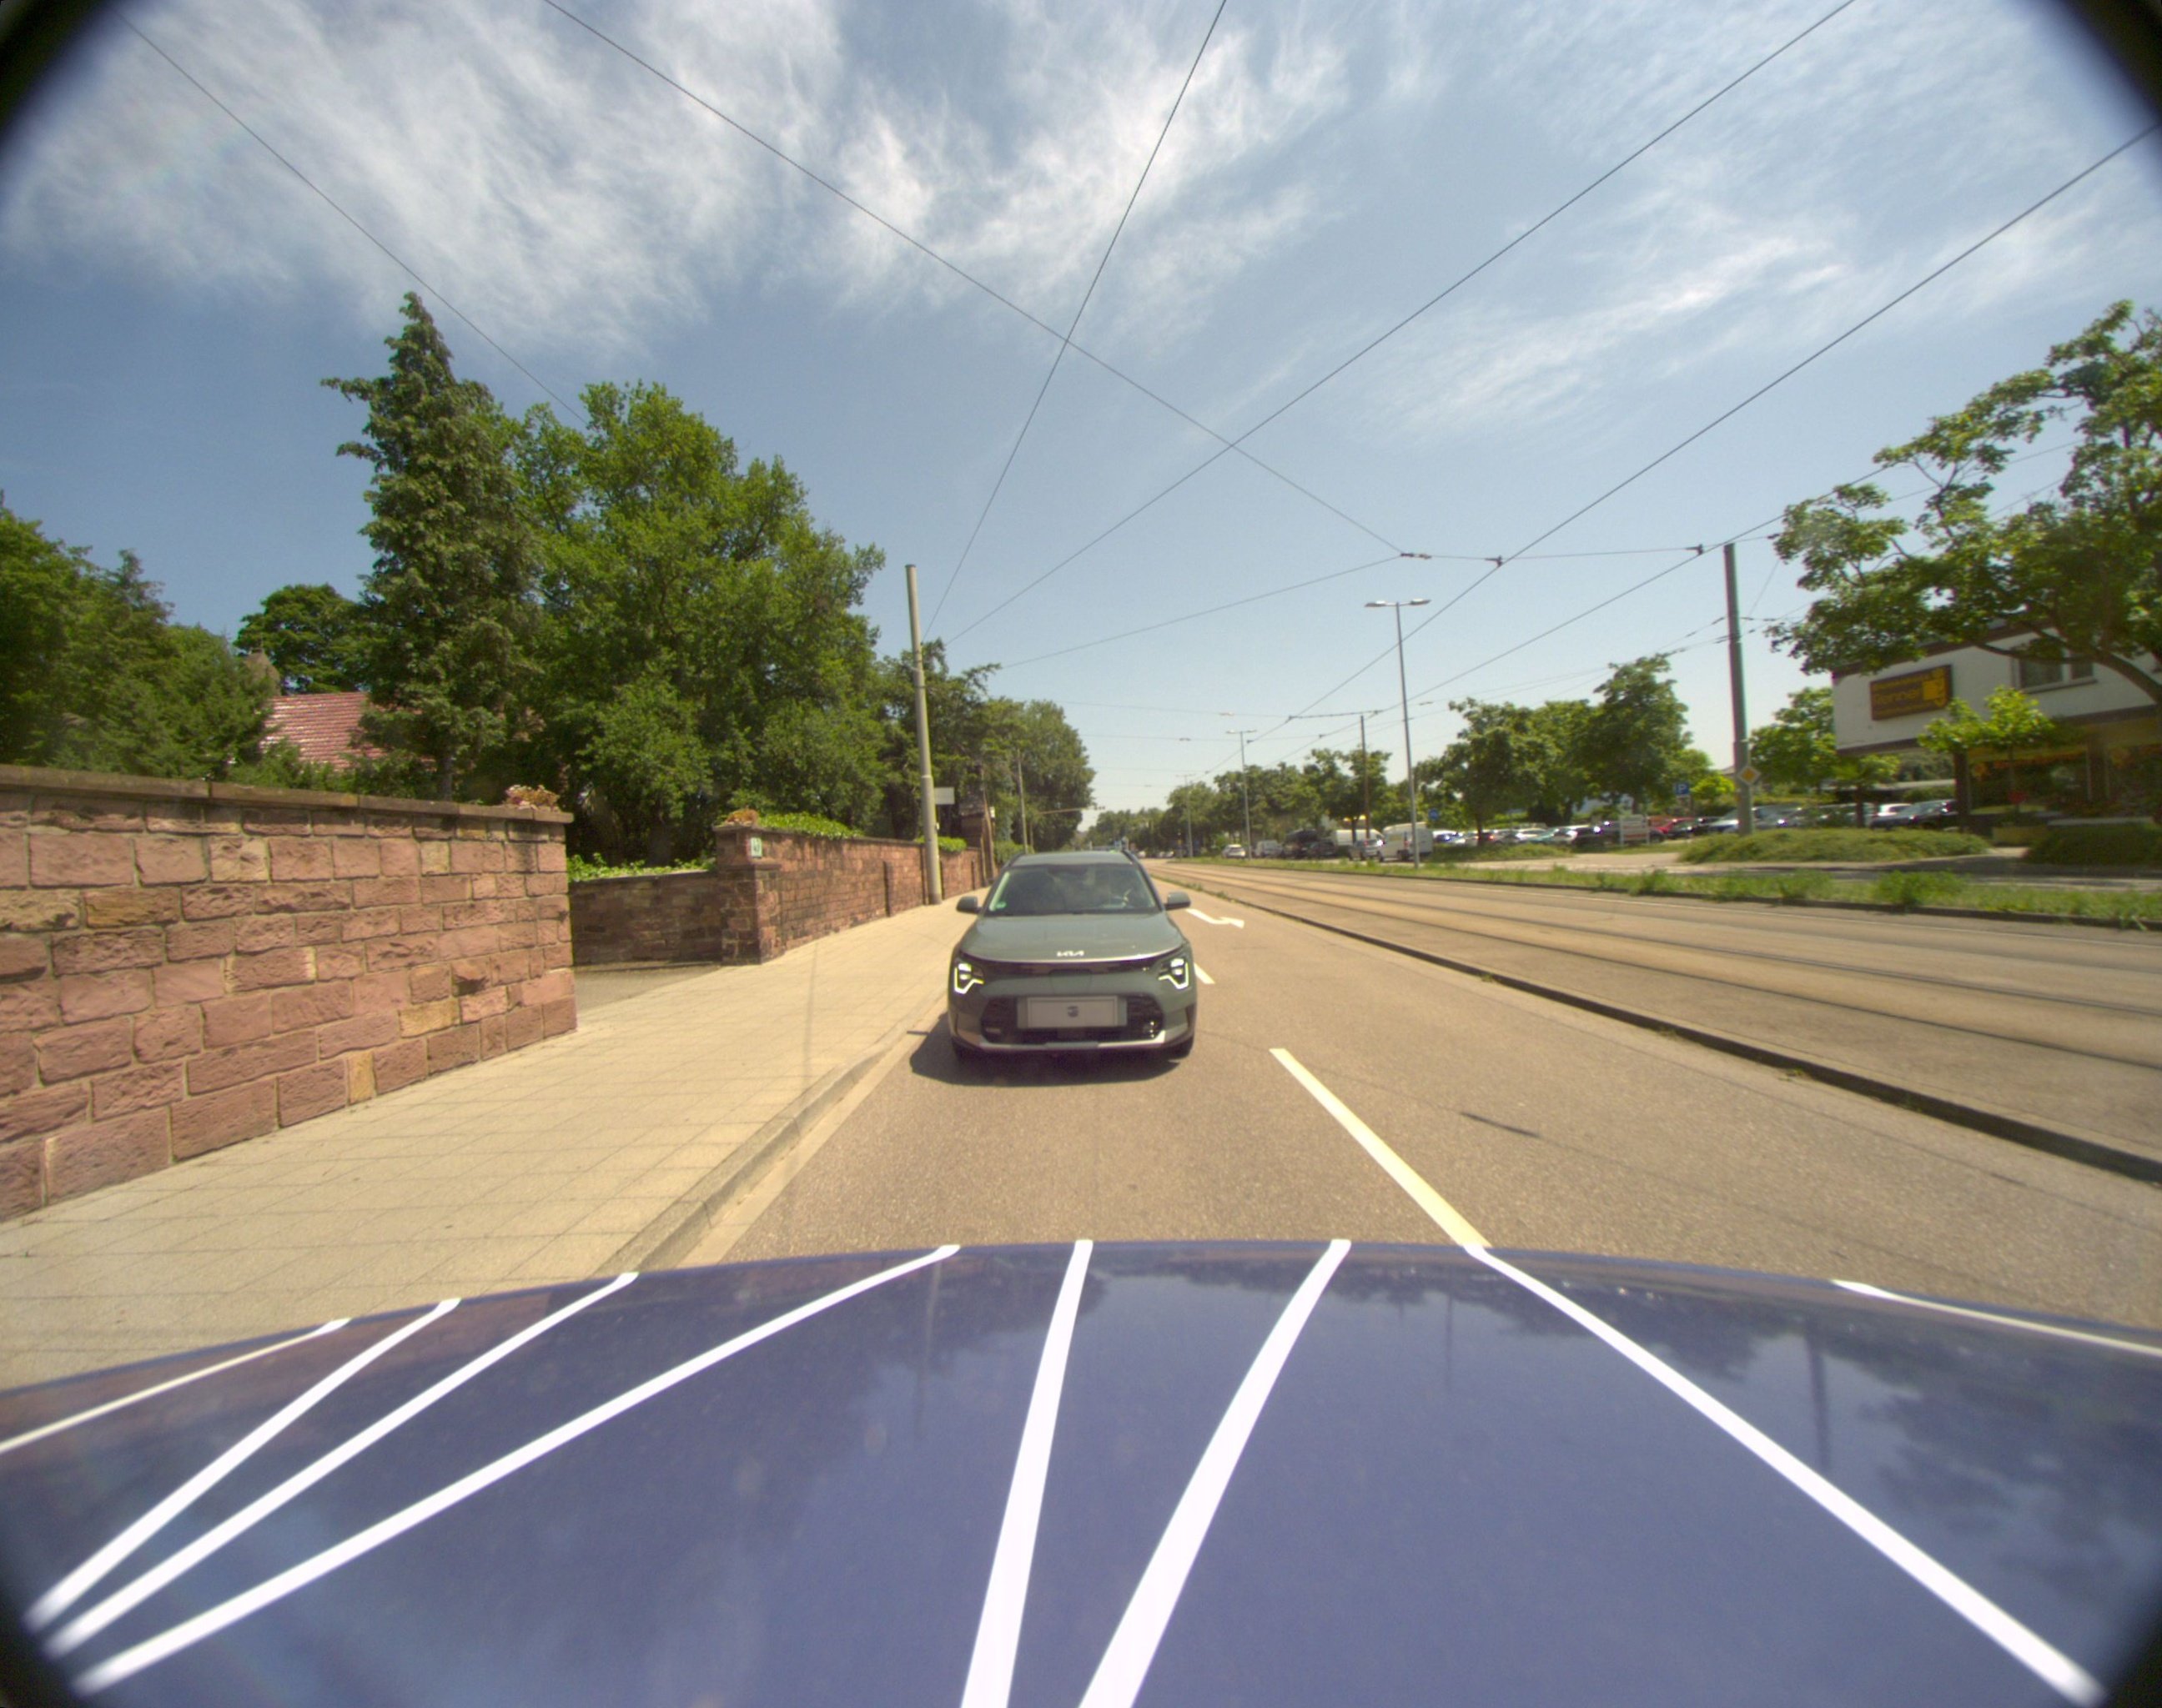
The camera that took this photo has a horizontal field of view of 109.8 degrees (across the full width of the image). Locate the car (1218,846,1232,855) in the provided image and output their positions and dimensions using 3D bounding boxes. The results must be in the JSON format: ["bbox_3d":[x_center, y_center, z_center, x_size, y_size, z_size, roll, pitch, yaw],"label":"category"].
[{"bbox_3d":[21.276,-0.492,112.489,1.582,1.152,3.423,-2,1,2],"label":"car"}]

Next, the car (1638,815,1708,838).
[{"bbox_3d":[44.216,-2.059,56.770,3.999,1.486,1.715,-2,1,-5],"label":"car"}]

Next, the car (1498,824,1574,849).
[{"bbox_3d":[30.921,-1.196,51.702,4.146,1.481,1.859,-2,1,-6],"label":"car"}]

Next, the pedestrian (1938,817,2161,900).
[{"bbox_3d":[26.705,0.071,20.785,1.998,2.002,3.999,-2,1,0],"label":"pedestrian"}]

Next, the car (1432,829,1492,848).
[{"bbox_3d":[31.151,-1.254,62.201,3.998,1.398,1.797,-2,0,-3],"label":"car"}]

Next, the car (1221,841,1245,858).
[{"bbox_3d":[15.950,-0.492,79.941,1.728,1.601,4.569,-2,1,2],"label":"car"}]

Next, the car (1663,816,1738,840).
[{"bbox_3d":[43.829,-1.826,53.793,3.997,1.576,1.684,-2,1,-1],"label":"car"}]

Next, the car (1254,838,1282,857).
[{"bbox_3d":[20.537,-0.757,83.563,1.924,1.937,4.816,-2,1,2],"label":"car"}]

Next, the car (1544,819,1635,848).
[{"bbox_3d":[31.121,-1.248,46.561,4.172,1.481,1.984,-3,0,-1],"label":"car"}]

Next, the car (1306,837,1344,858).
[{"bbox_3d":[20.297,-0.561,63.400,1.976,1.568,3.751,-2,1,1],"label":"car"}]

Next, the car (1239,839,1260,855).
[{"bbox_3d":[20.804,-0.924,93.898,1.635,1.882,4.496,-2,1,1],"label":"car"}]

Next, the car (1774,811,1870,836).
[{"bbox_3d":[42.754,-1.748,43.914,3.724,1.277,1.764,-2,1,3],"label":"car"}]

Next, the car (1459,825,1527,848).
[{"bbox_3d":[30.843,-1.281,56.944,4.075,1.481,1.831,-3,0,-6],"label":"car"}]

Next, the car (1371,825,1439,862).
[{"bbox_3d":[20.056,-0.655,47.324,1.880,1.999,5.344,-6,1,1],"label":"car"}]

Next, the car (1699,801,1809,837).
[{"bbox_3d":[43.350,-2.232,49.031,5.120,2.058,2.226,-2,1,1],"label":"car"}]

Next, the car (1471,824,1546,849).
[{"bbox_3d":[30.412,-1.227,54.114,4.163,1.481,2.023,-3,0,-6],"label":"car"}]

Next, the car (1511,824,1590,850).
[{"bbox_3d":[30.398,-1.108,49.246,4.040,1.481,1.911,-2,1,-6],"label":"car"}]

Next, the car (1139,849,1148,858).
[{"bbox_3d":[15.924,-0.147,193.641,1.821,1.979,4.212,-2,1,-3],"label":"car"}]

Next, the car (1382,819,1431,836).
[{"bbox_3d":[44.522,-3.632,104.102,5.744,2.051,2.147,-2,1,-2],"label":"car"}]

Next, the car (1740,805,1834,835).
[{"bbox_3d":[43.261,-2.066,46.611,3.996,1.647,1.803,-2,1,3],"label":"car"}]

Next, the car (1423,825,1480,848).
[{"bbox_3d":[31.597,-1.515,64.854,3.998,1.708,1.797,-3,1,-3],"label":"car"}]

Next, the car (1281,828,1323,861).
[{"bbox_3d":[20.227,-0.917,69.763,2.244,2.822,5.667,-2,1,1],"label":"car"}]

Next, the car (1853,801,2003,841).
[{"bbox_3d":[34.054,-1.310,30.620,3.996,1.289,1.682,-4,0,2],"label":"car"}]

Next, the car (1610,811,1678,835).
[{"bbox_3d":[43.714,-2.383,59.047,4.129,1.643,1.692,-3,0,-5],"label":"car"}]

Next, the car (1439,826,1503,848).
[{"bbox_3d":[30.494,-1.297,59.438,3.999,1.479,1.866,-3,0,-6],"label":"car"}]

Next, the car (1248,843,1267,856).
[{"bbox_3d":[20.726,-0.514,89.209,1.429,1.470,3.262,-2,1,1],"label":"car"}]

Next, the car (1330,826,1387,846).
[{"bbox_3d":[30.616,-1.992,83.960,5.434,1.945,2.029,-2,1,2],"label":"car"}]

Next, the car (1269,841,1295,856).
[{"bbox_3d":[20.563,-0.563,77.817,1.767,1.456,3.608,-2,1,2],"label":"car"}]

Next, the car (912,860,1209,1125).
[{"bbox_3d":[-0.136,0.889,6.928,1.824,1.577,4.287,-2,0,0],"label":"car"}]

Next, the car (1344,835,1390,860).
[{"bbox_3d":[20.157,-0.465,53.783,1.654,1.494,4.125,-6,1,1],"label":"car"}]

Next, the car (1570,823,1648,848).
[{"bbox_3d":[30.528,-1.062,43.994,3.423,1.225,1.643,-3,0,-6],"label":"car"}]

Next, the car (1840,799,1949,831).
[{"bbox_3d":[43.901,-2.070,41.049,3.996,1.511,1.661,-2,1,3],"label":"car"}]
